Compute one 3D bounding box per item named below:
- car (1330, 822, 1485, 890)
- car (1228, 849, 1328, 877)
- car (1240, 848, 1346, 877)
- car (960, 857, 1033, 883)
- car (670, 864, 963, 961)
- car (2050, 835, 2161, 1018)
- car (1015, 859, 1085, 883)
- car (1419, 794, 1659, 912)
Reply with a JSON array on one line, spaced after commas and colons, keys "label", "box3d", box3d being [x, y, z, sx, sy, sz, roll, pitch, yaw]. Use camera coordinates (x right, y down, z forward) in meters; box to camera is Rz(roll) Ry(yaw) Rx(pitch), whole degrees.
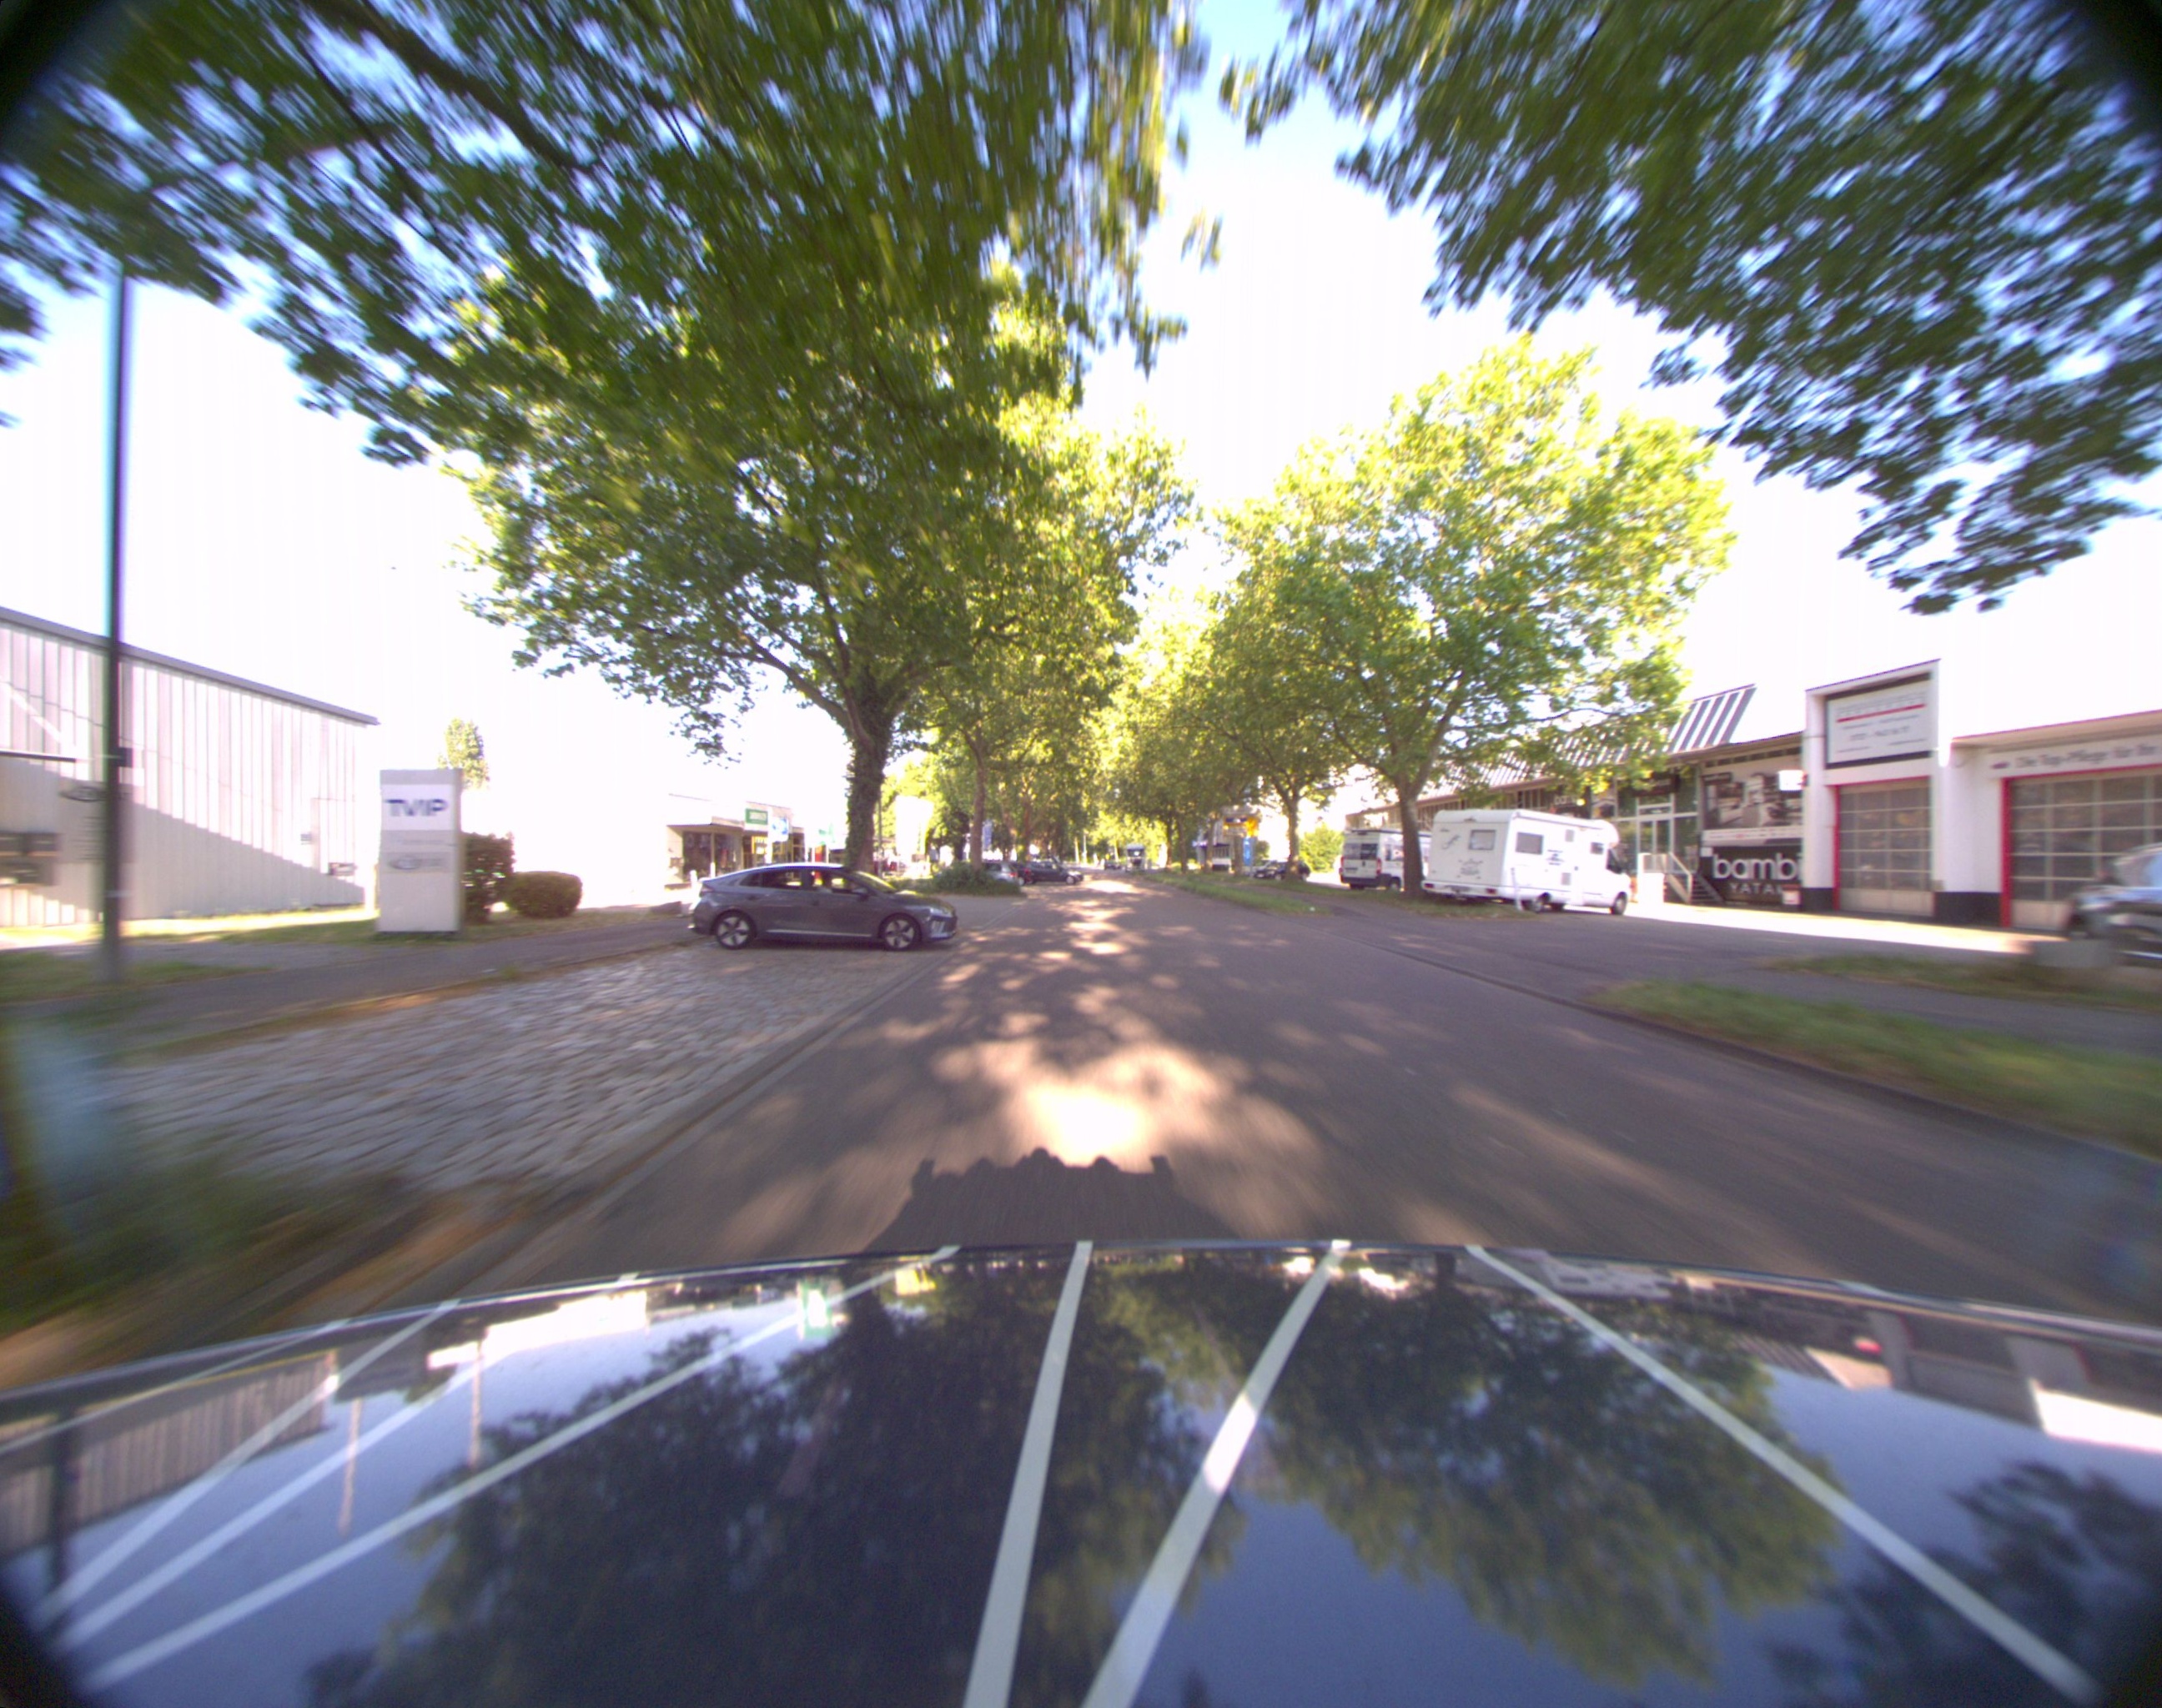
[{"label": "car", "box3d": [13.784, 0.152, 31.986, 6.338, 2.482, 2.595, 3, -2, -29]}, {"label": "car", "box3d": [14.024, 0.697, 54.145, 6.376, 1.669, 2.722, 3, -2, -18]}, {"label": "car", "box3d": [14.274, 0.592, 51.231, 6.428, 1.669, 2.722, 3, -2, -18]}, {"label": "car", "box3d": [-5.121, 0.973, 46.496, 4.299, 1.410, 1.999, 2, 1, -5]}, {"label": "car", "box3d": [-4.375, 0.968, 13.194, 4.405, 1.410, 1.999, 2, 1, -5]}, {"label": "car", "box3d": [12.397, 0.737, 7.814, 1.994, 1.829, 4.257, -1, 1, 37]}, {"label": "car", "box3d": [-1.960, 1.088, 49.337, 4.296, 1.410, 2.000, 2, 1, 3]}, {"label": "car", "box3d": [13.193, 0.106, 21.767, 6.972, 2.835, 2.596, 3, -2, -28]}]
